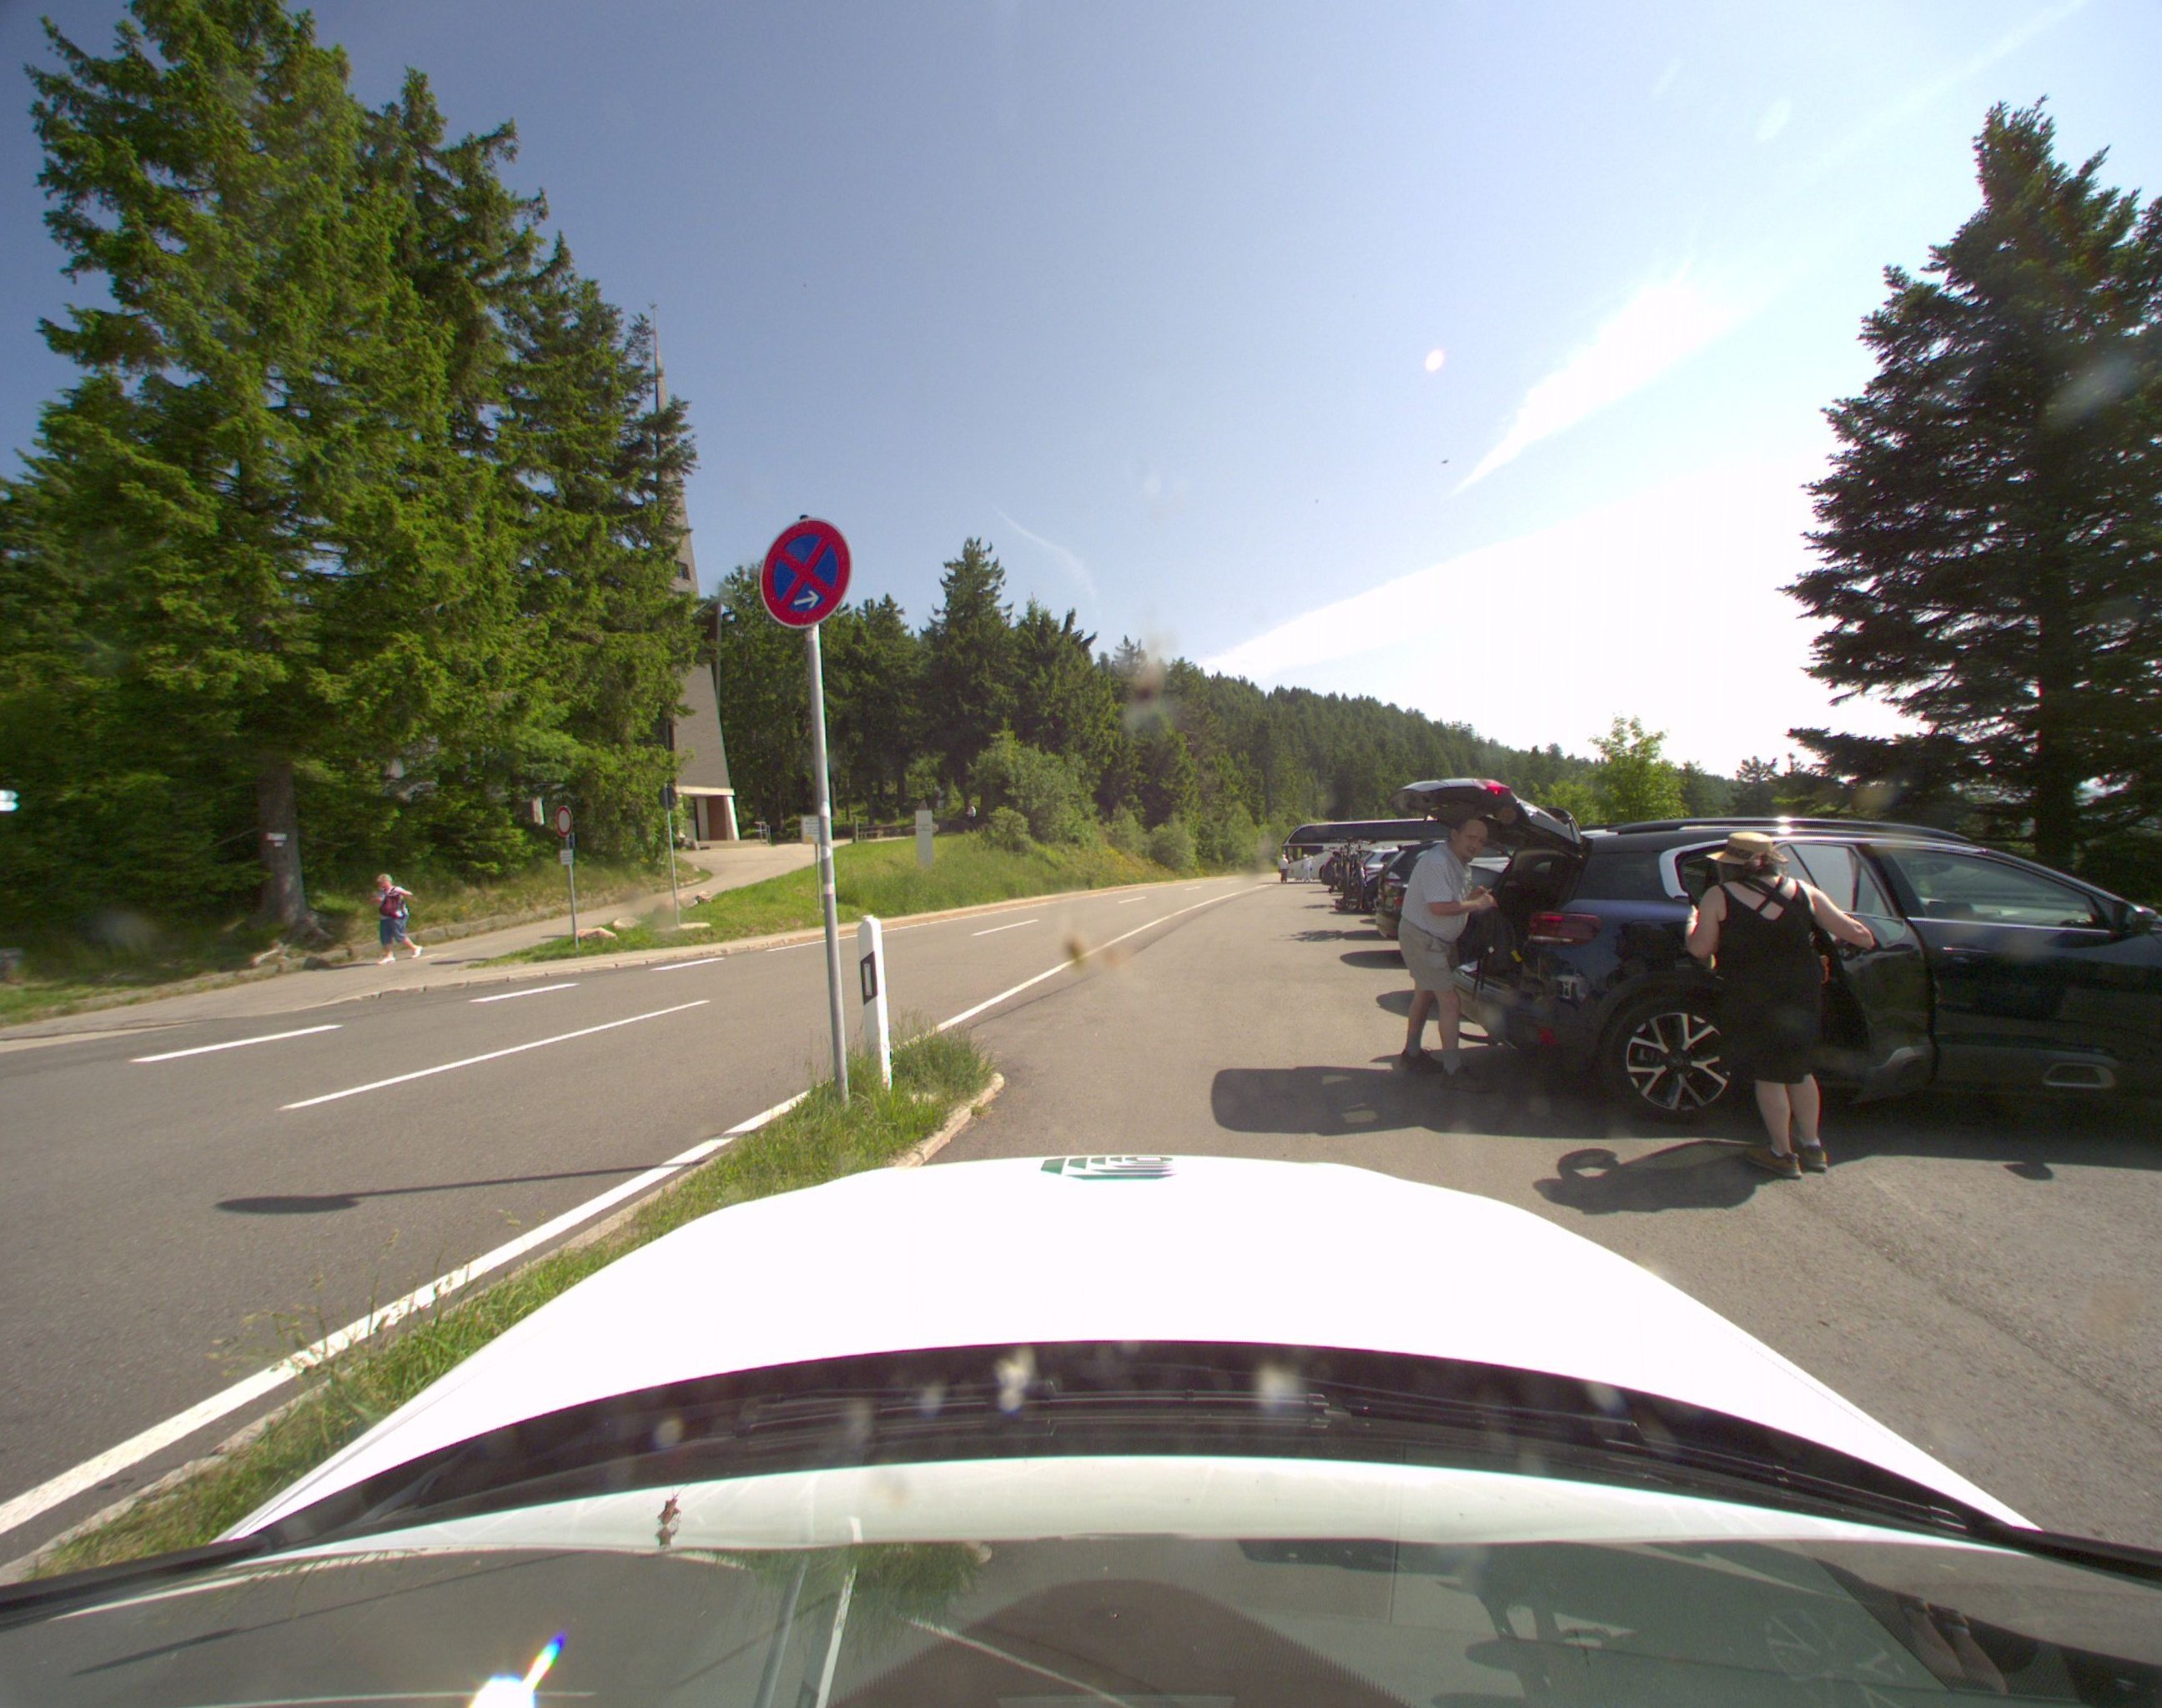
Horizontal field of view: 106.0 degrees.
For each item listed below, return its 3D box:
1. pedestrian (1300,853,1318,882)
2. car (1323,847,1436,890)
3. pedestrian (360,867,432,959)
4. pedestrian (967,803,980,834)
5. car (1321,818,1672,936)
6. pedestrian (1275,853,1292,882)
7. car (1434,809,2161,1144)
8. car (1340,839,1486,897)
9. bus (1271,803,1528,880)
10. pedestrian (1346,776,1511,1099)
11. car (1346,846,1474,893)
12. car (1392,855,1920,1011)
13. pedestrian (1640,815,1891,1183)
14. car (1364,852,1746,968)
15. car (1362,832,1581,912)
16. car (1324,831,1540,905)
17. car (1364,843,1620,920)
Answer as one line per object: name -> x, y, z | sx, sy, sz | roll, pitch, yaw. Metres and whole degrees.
pedestrian -> 12.875, 0.753, 45.974 | 0.763, 1.585, 0.776 | -3, -1, 22
car -> 11.621, 0.573, 31.966 | 3.957, 1.449, 1.869 | -3, -1, 15
pedestrian -> -13.133, 1.122, 15.626 | 0.715, 1.681, 0.684 | -3, -1, 9
pedestrian -> -6.746, -2.219, 51.164 | 0.680, 1.878, 0.540 | -3, -1, -8
car -> 6.648, 0.409, 13.693 | 4.910, 1.695, 1.954 | -3, -1, 17
pedestrian -> 11.539, 0.781, 46.483 | 0.763, 1.585, 0.776 | -3, -1, 22
car -> 4.712, 0.607, 5.050 | 4.317, 1.626, 1.875 | 1, -1, 10
car -> 10.129, 0.440, 25.151 | 3.957, 1.554, 1.666 | -3, -1, 15
bus -> 17.715, -0.583, 46.088 | 12.973, 3.532, 3.061 | -3, -1, 25
pedestrian -> 2.234, 0.465, 5.222 | 0.762, 1.870, 0.728 | -3, 3, -44
car -> 11.443, 0.543, 28.613 | 3.957, 1.398, 1.627 | -3, -1, 15
car -> 5.476, 0.704, 8.235 | 4.061, 1.376, 1.705 | 0, 0, 6
pedestrian -> 3.211, 0.640, 3.877 | 0.710, 1.613, 0.537 | -1, -1, 5
car -> 6.024, 0.671, 10.820 | 4.057, 1.376, 1.707 | 0, 0, 9
car -> 8.789, 0.412, 18.724 | 4.212, 1.554, 1.845 | -3, -1, 15
car -> 9.137, 0.379, 21.697 | 4.996, 1.651, 2.056 | -3, -1, 15
car -> 7.928, 0.543, 16.170 | 4.212, 1.269, 1.845 | -3, -1, 15
